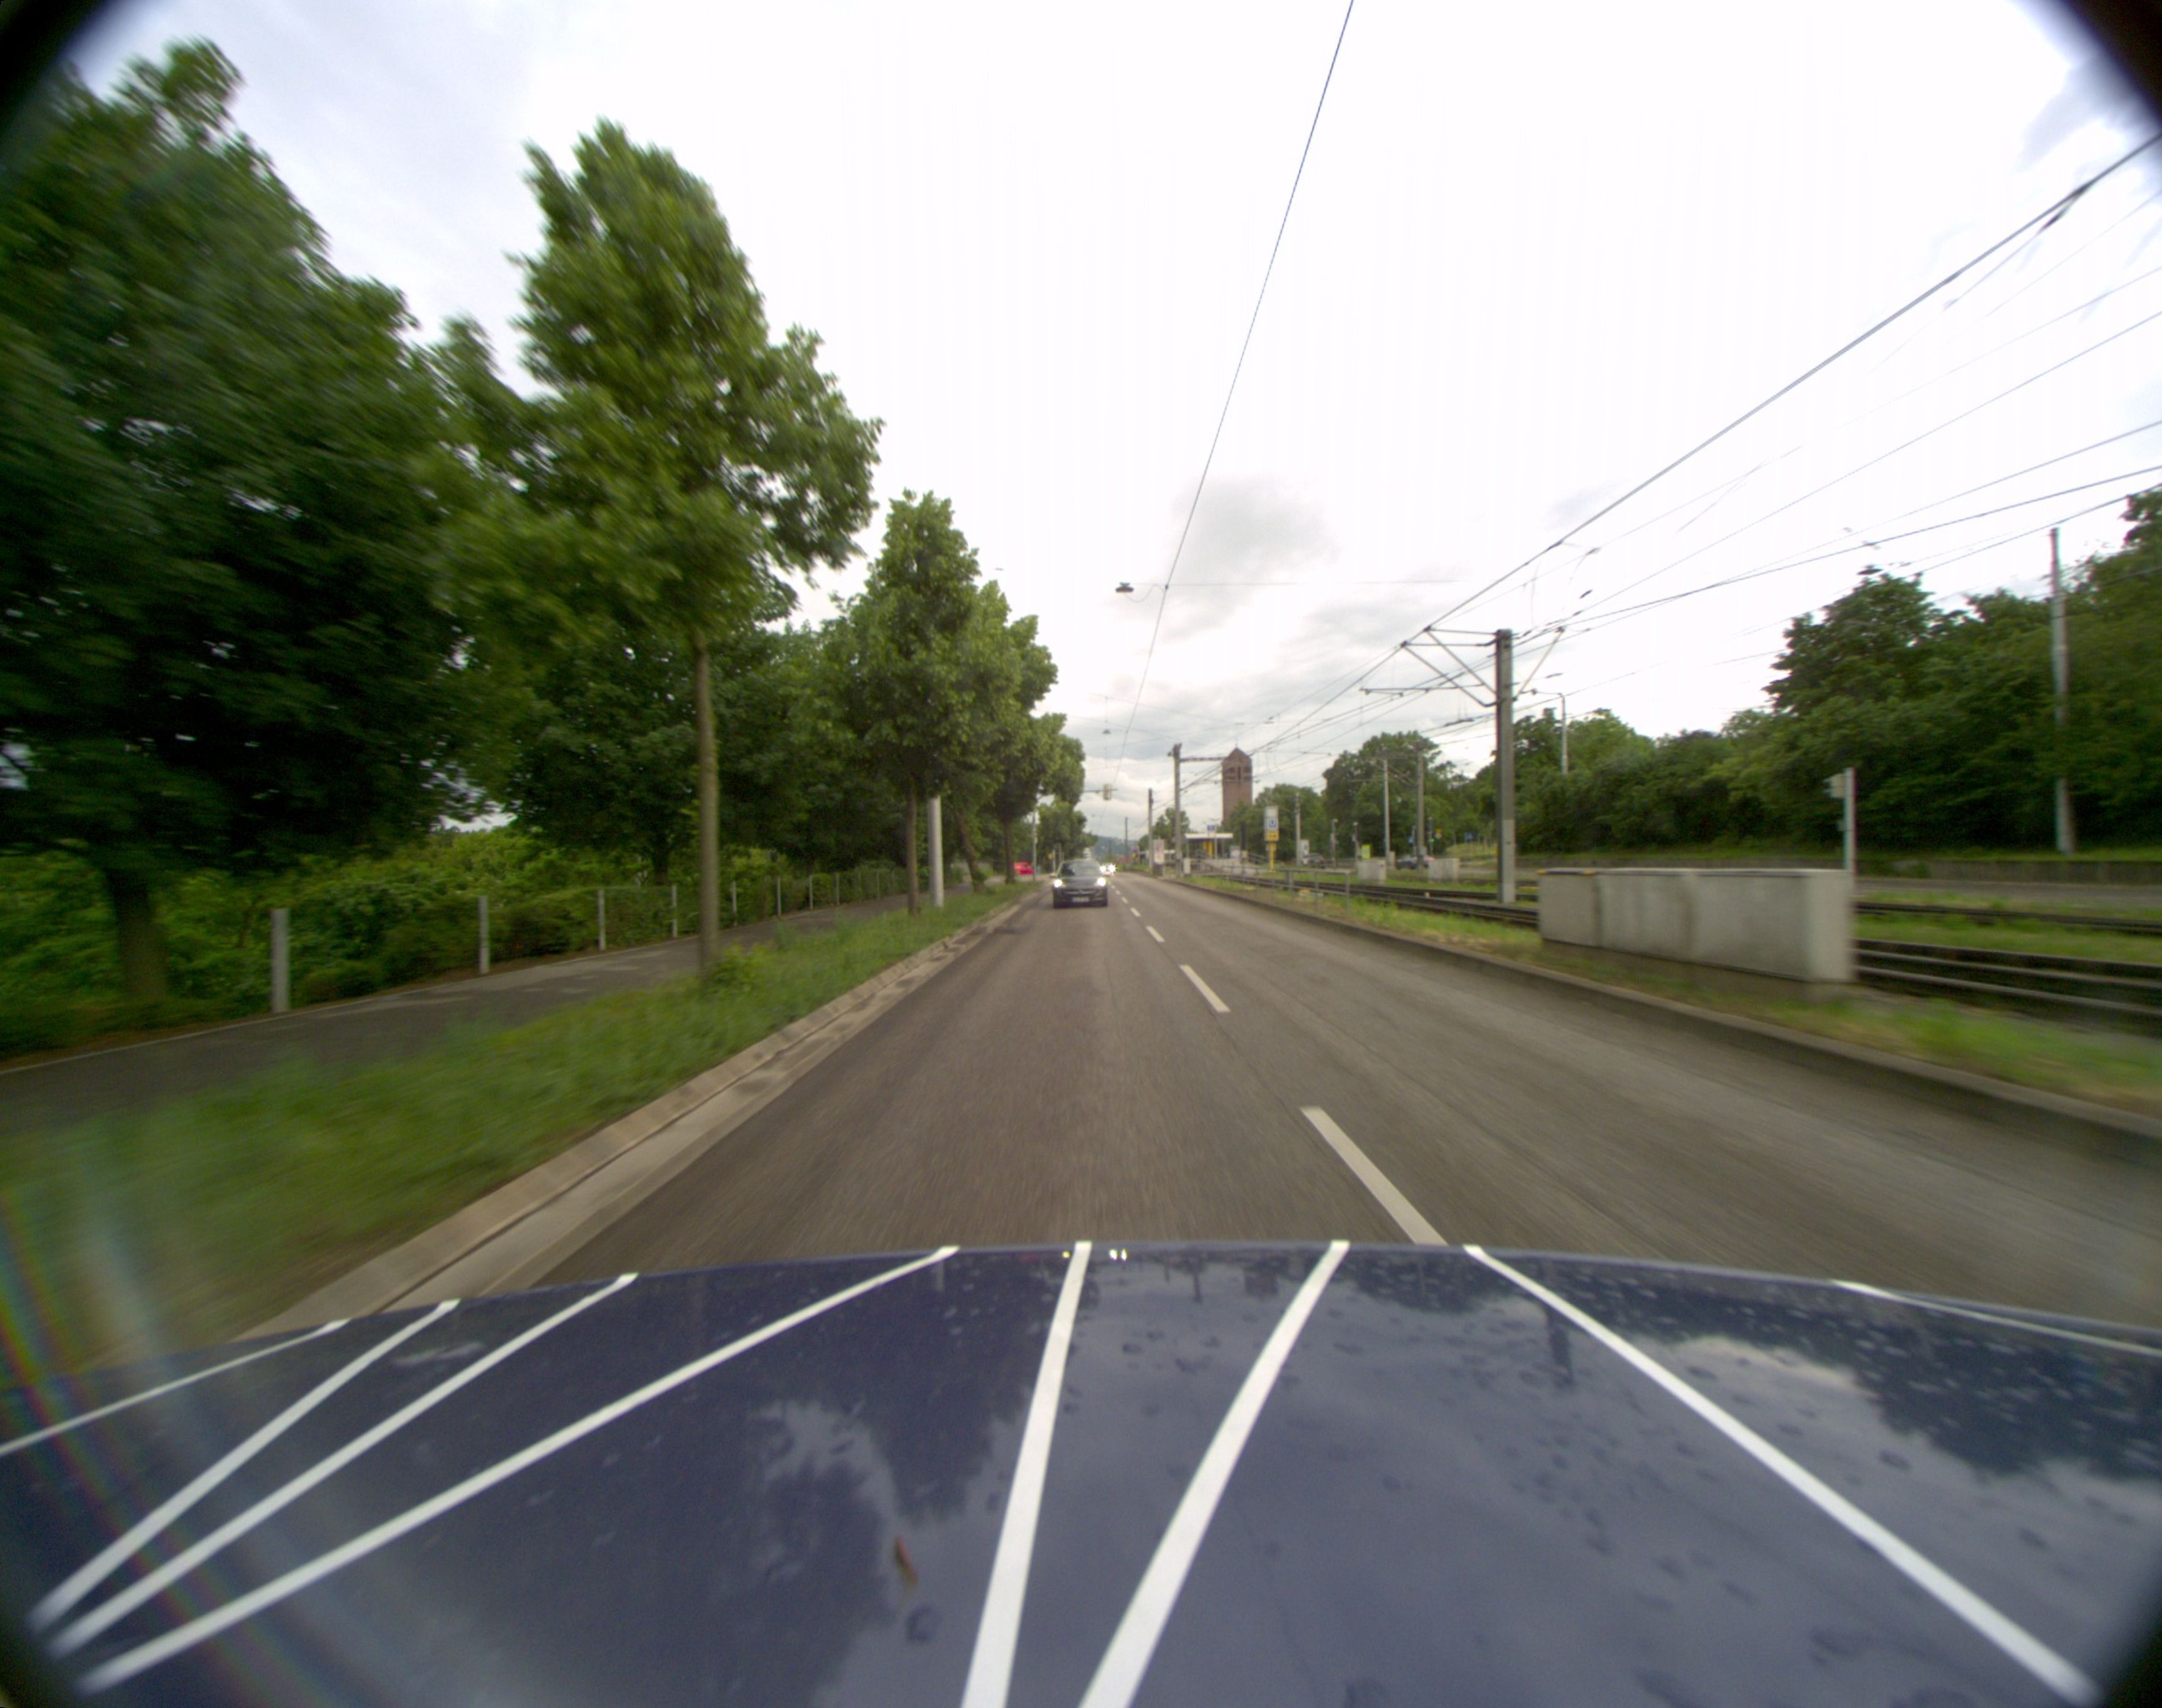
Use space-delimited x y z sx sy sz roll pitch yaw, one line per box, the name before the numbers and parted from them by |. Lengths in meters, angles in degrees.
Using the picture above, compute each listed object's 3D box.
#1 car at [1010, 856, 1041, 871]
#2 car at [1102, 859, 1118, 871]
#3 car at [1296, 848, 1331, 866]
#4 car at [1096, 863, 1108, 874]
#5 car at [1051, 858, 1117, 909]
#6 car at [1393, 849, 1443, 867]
car | -9.042 1.566 124.445 1.994 2.179 5.040 -2 0 43
car | 3.798 1.427 100.196 1.899 1.432 4.247 -2 -1 1
car | 24.018 0.326 78.661 2.088 1.728 4.862 -1 0 0
car | 3.266 2.180 118.567 1.812 1.566 3.971 -2 0 1
car | 0.122 0.922 24.836 1.899 1.432 4.474 -2 -1 1
car | 26.414 0.308 59.681 1.932 1.254 4.474 -1 0 0
